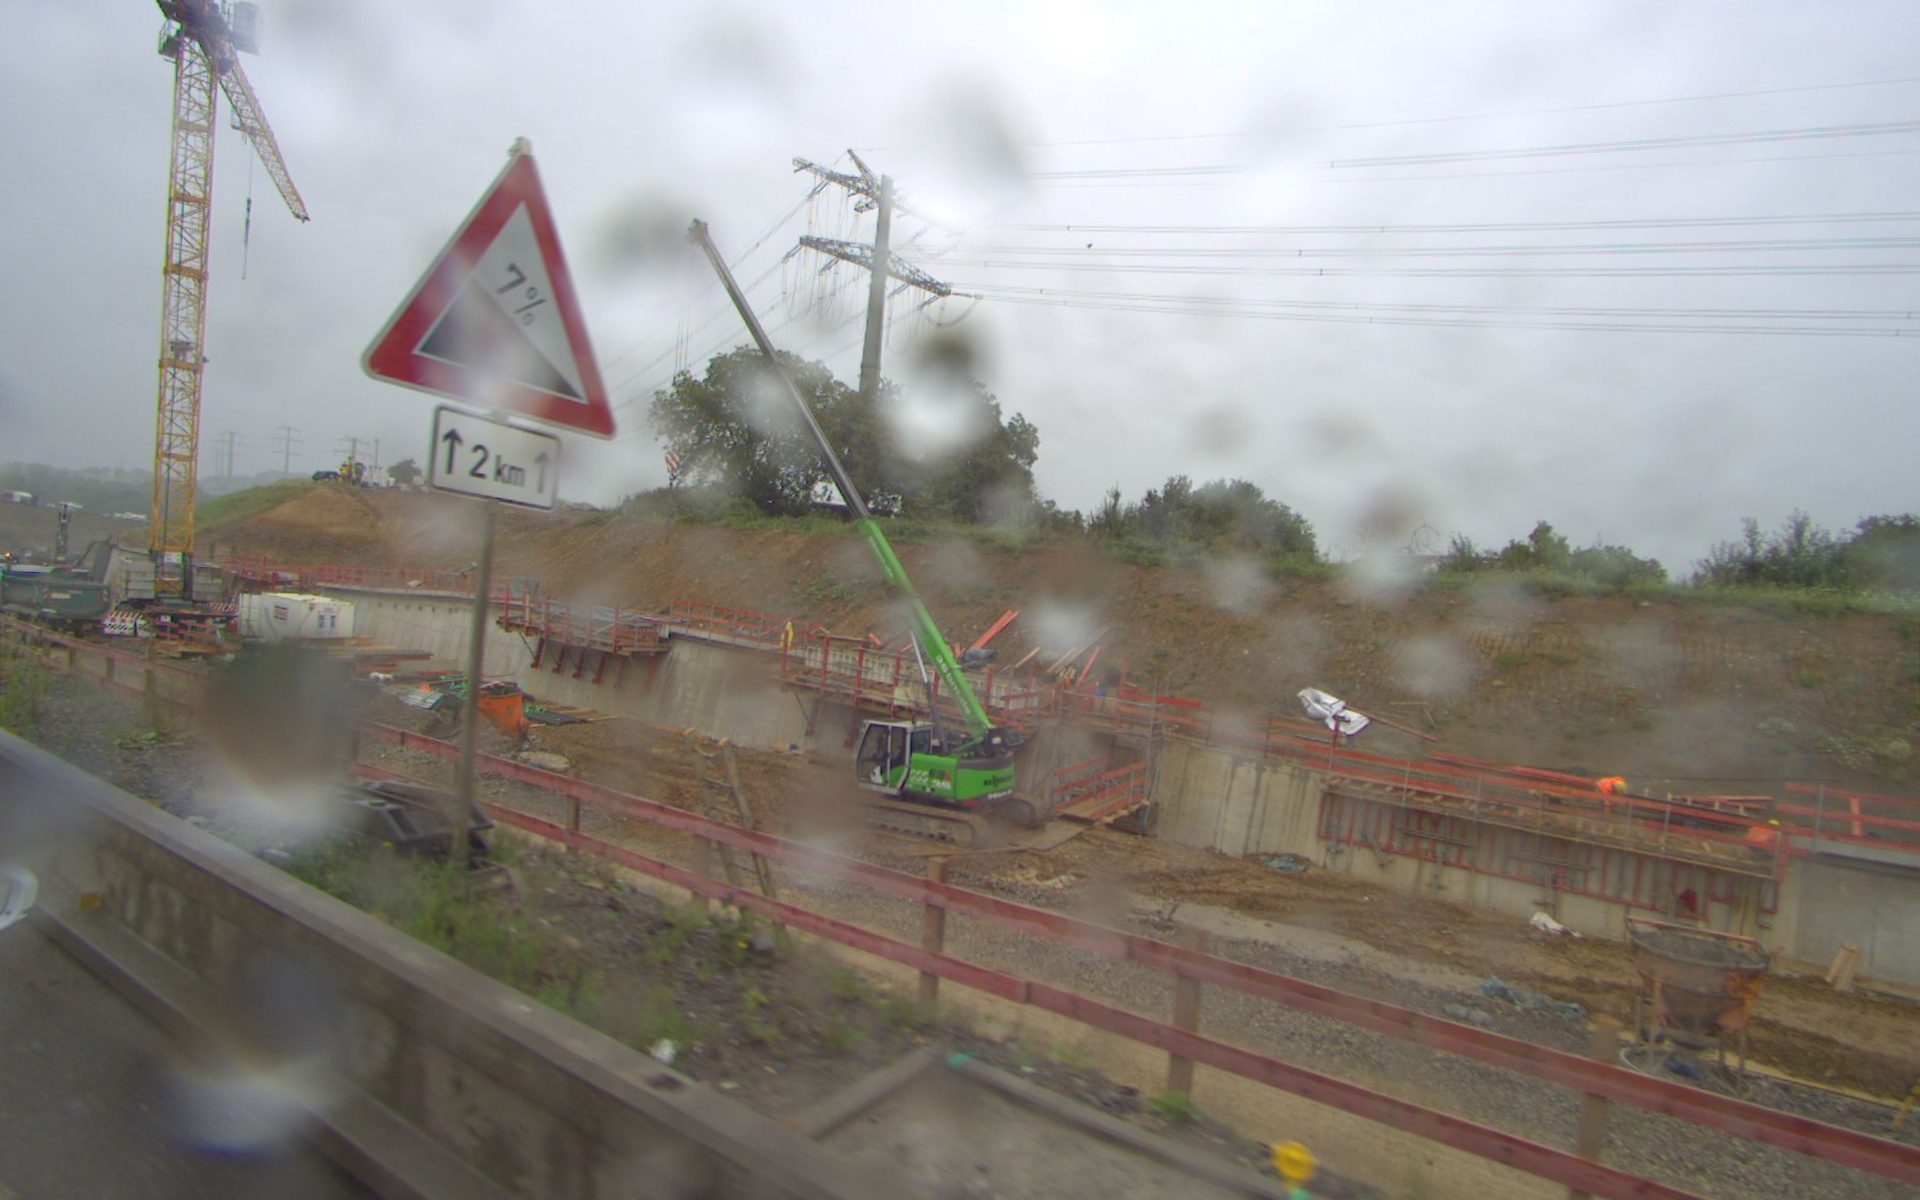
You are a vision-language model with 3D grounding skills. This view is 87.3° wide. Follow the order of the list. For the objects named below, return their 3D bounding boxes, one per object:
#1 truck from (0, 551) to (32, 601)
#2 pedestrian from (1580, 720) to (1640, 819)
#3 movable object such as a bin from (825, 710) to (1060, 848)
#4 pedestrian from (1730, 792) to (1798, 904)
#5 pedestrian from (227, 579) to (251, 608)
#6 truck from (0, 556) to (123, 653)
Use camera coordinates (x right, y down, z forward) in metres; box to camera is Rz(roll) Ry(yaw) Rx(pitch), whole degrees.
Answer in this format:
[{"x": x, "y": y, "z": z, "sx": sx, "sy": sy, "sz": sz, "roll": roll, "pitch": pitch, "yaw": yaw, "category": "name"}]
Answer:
[{"x": -79.734, "y": -2.143, "z": 83.572, "sx": 8.941, "sy": 3.531, "sz": 2.727, "roll": 6, "pitch": -2, "yaw": 42, "category": "truck"}, {"x": 16.257, "y": 4.243, "z": 25.185, "sx": 0.989, "sy": 2.268, "sz": 0.919, "roll": 6, "pitch": -5, "yaw": 29, "category": "pedestrian"}, {"x": -0.415, "y": 4.481, "z": 26.267, "sx": 4.779, "sy": 2.836, "sz": 3.797, "roll": 1, "pitch": -4, "yaw": 32, "category": "movable object such as a bin"}, {"x": 17.969, "y": 5.515, "z": 22.511, "sx": 0.991, "sy": 2.253, "sz": 0.917, "roll": 5, "pitch": -6, "yaw": 36, "category": "pedestrian"}, {"x": -56.779, "y": -0.502, "z": 79.205, "sx": 0.886, "sy": 2.013, "sz": 0.906, "roll": 5, "pitch": -11, "yaw": 41, "category": "pedestrian"}, {"x": -42.074, "y": 0.101, "z": 46.447, "sx": 8.806, "sy": 3.544, "sz": 2.702, "roll": 6, "pitch": -1, "yaw": 35, "category": "truck"}]
